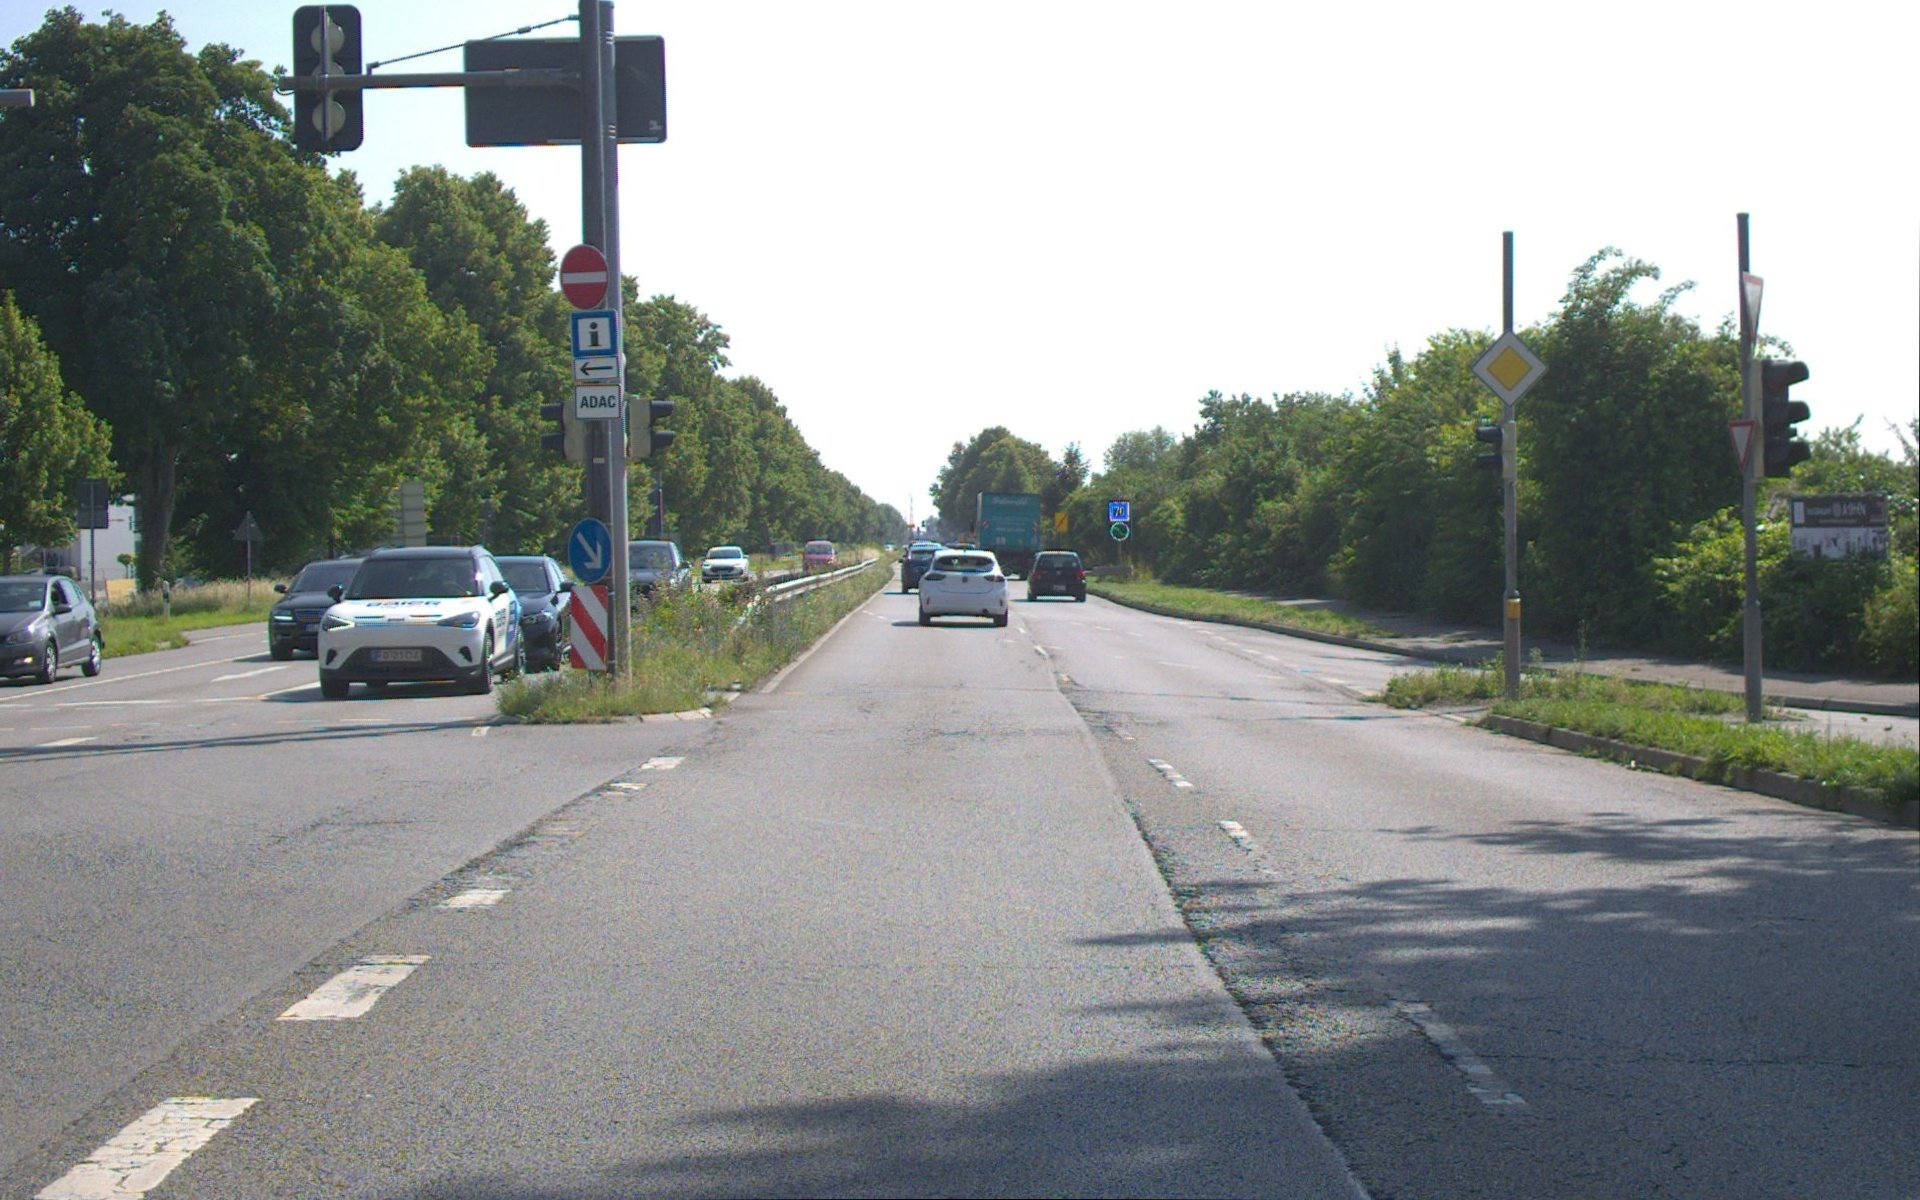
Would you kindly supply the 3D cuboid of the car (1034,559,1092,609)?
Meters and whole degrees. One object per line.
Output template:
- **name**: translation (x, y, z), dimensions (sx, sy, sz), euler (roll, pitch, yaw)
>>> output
- **car**: translation (2.949, -0.462, 98.851), dimensions (1.572, 1.410, 3.277), euler (0, 0, 0)

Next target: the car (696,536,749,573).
- **car**: translation (-9.839, -1.891, 142.442), dimensions (1.993, 1.497, 4.091), euler (-1, 1, -1)

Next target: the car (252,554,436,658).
- **car**: translation (-9.294, 0.065, 52.176), dimensions (1.930, 1.432, 4.267), euler (-1, 1, 1)

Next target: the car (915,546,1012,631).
- **car**: translation (0.087, -0.252, 66.815), dimensions (1.799, 1.547, 4.000), euler (1, 1, 1)

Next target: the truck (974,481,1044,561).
- **truck**: translation (2.109, -3.476, 151.845), dimensions (2.891, 3.417, 9.169), euler (-1, 1, 0)

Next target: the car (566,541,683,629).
- **car**: translation (-6.375, -0.317, 65.746), dimensions (1.847, 1.589, 4.617), euler (-1, 1, -1)

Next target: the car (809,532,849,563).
- **car**: translation (-6.534, -2.650, 171.952), dimensions (1.912, 1.497, 4.091), euler (-1, 1, -1)

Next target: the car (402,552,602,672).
- **car**: translation (-5.927, 0.115, 45.022), dimensions (1.817, 1.480, 4.893), euler (0, 1, 2)

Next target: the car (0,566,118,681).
- **car**: translation (-12.400, 0.305, 45.571), dimensions (1.486, 1.409, 3.762), euler (-3, 1, 0)

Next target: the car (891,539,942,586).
- **car**: translation (-1.351, -1.185, 107.831), dimensions (1.572, 1.409, 3.278), euler (-1, 1, 0)

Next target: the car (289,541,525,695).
- **car**: translation (-6.135, 0.157, 38.594), dimensions (2.010, 1.604, 4.211), euler (-1, 1, -1)
